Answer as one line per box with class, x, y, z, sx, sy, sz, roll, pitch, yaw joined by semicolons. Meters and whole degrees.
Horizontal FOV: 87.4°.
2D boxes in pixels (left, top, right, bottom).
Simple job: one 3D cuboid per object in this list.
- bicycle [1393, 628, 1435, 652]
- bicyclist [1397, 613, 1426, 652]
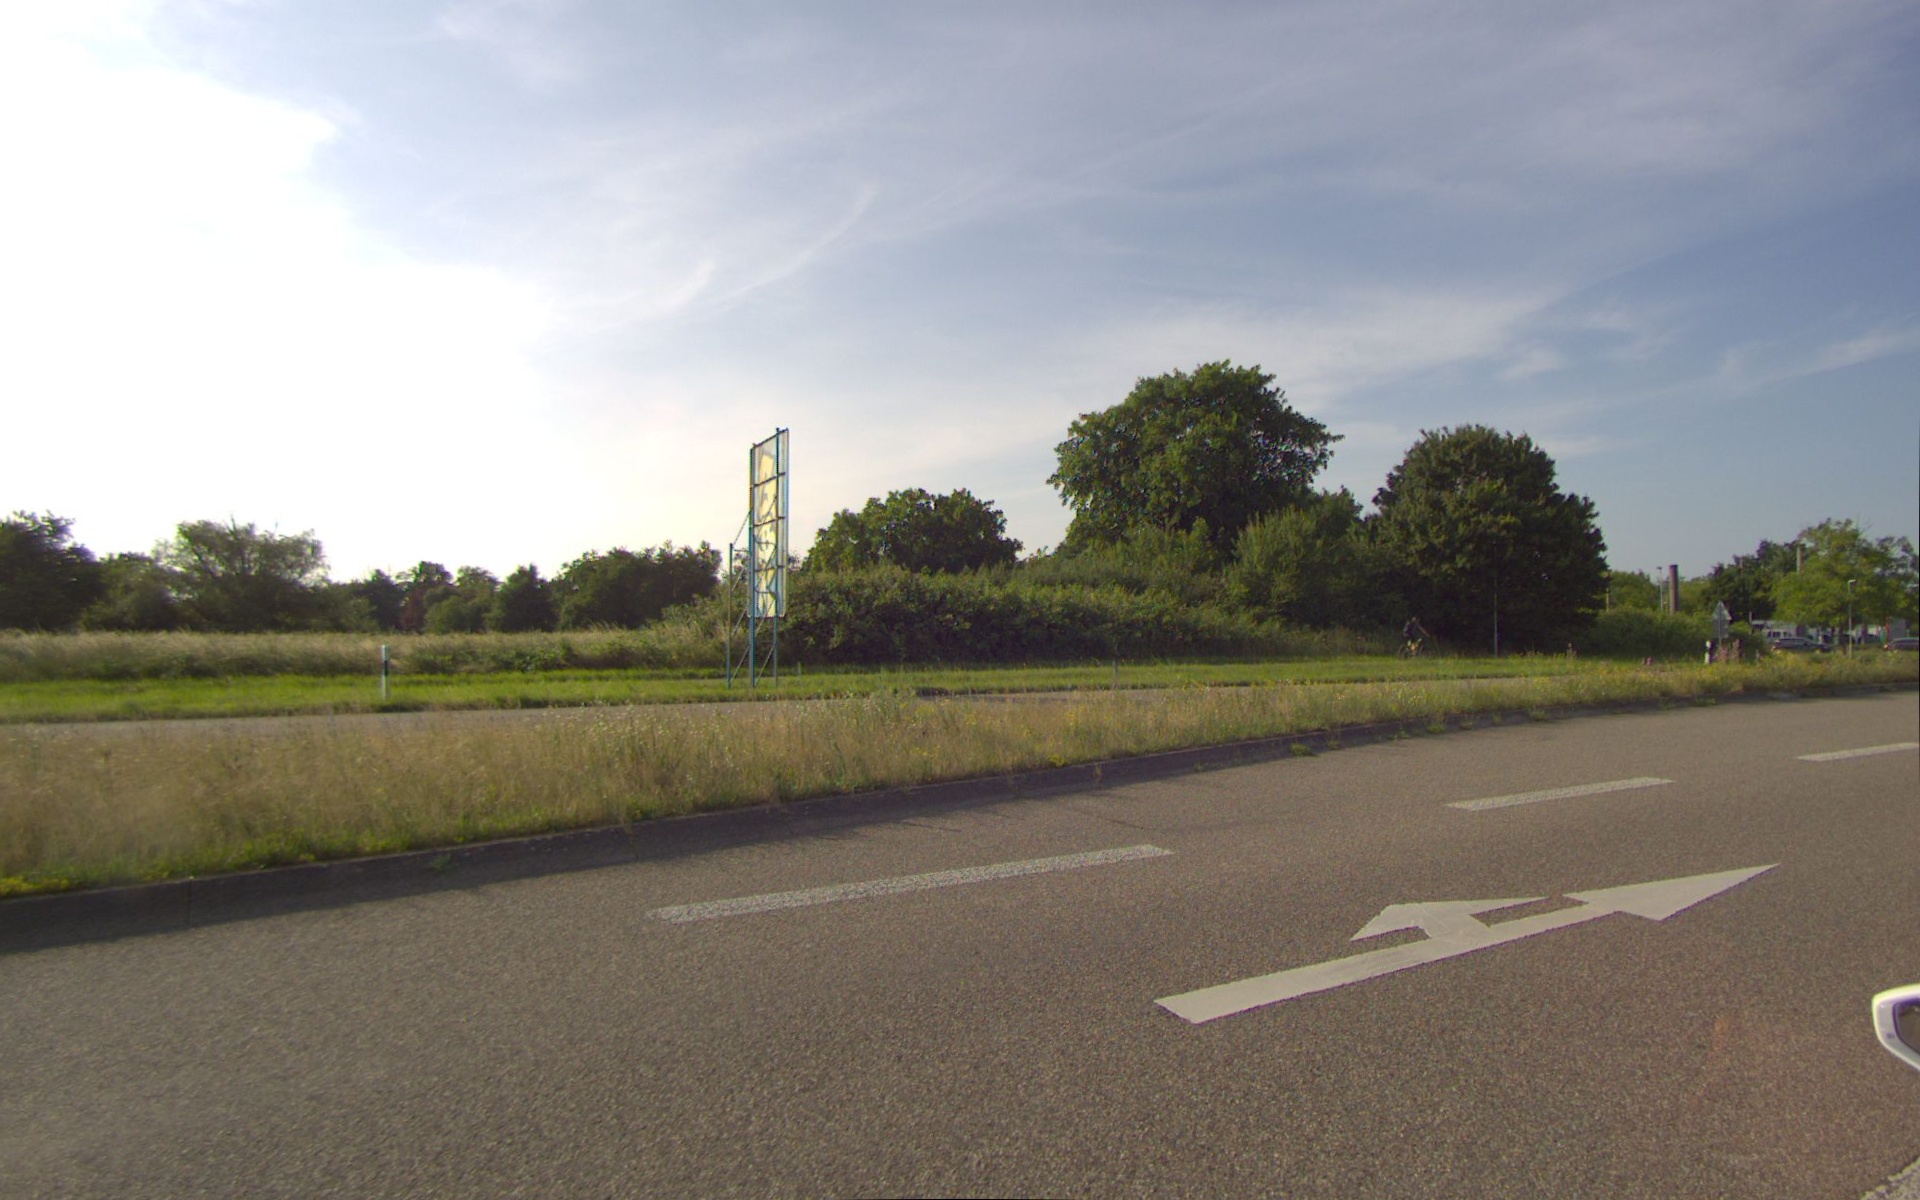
bicycle;16.670;1.460;36.911;1.684;0.890;0.527;1;-1;-30
bicyclist;16.588;1.174;36.885;1.035;1.408;0.464;1;-1;-30
